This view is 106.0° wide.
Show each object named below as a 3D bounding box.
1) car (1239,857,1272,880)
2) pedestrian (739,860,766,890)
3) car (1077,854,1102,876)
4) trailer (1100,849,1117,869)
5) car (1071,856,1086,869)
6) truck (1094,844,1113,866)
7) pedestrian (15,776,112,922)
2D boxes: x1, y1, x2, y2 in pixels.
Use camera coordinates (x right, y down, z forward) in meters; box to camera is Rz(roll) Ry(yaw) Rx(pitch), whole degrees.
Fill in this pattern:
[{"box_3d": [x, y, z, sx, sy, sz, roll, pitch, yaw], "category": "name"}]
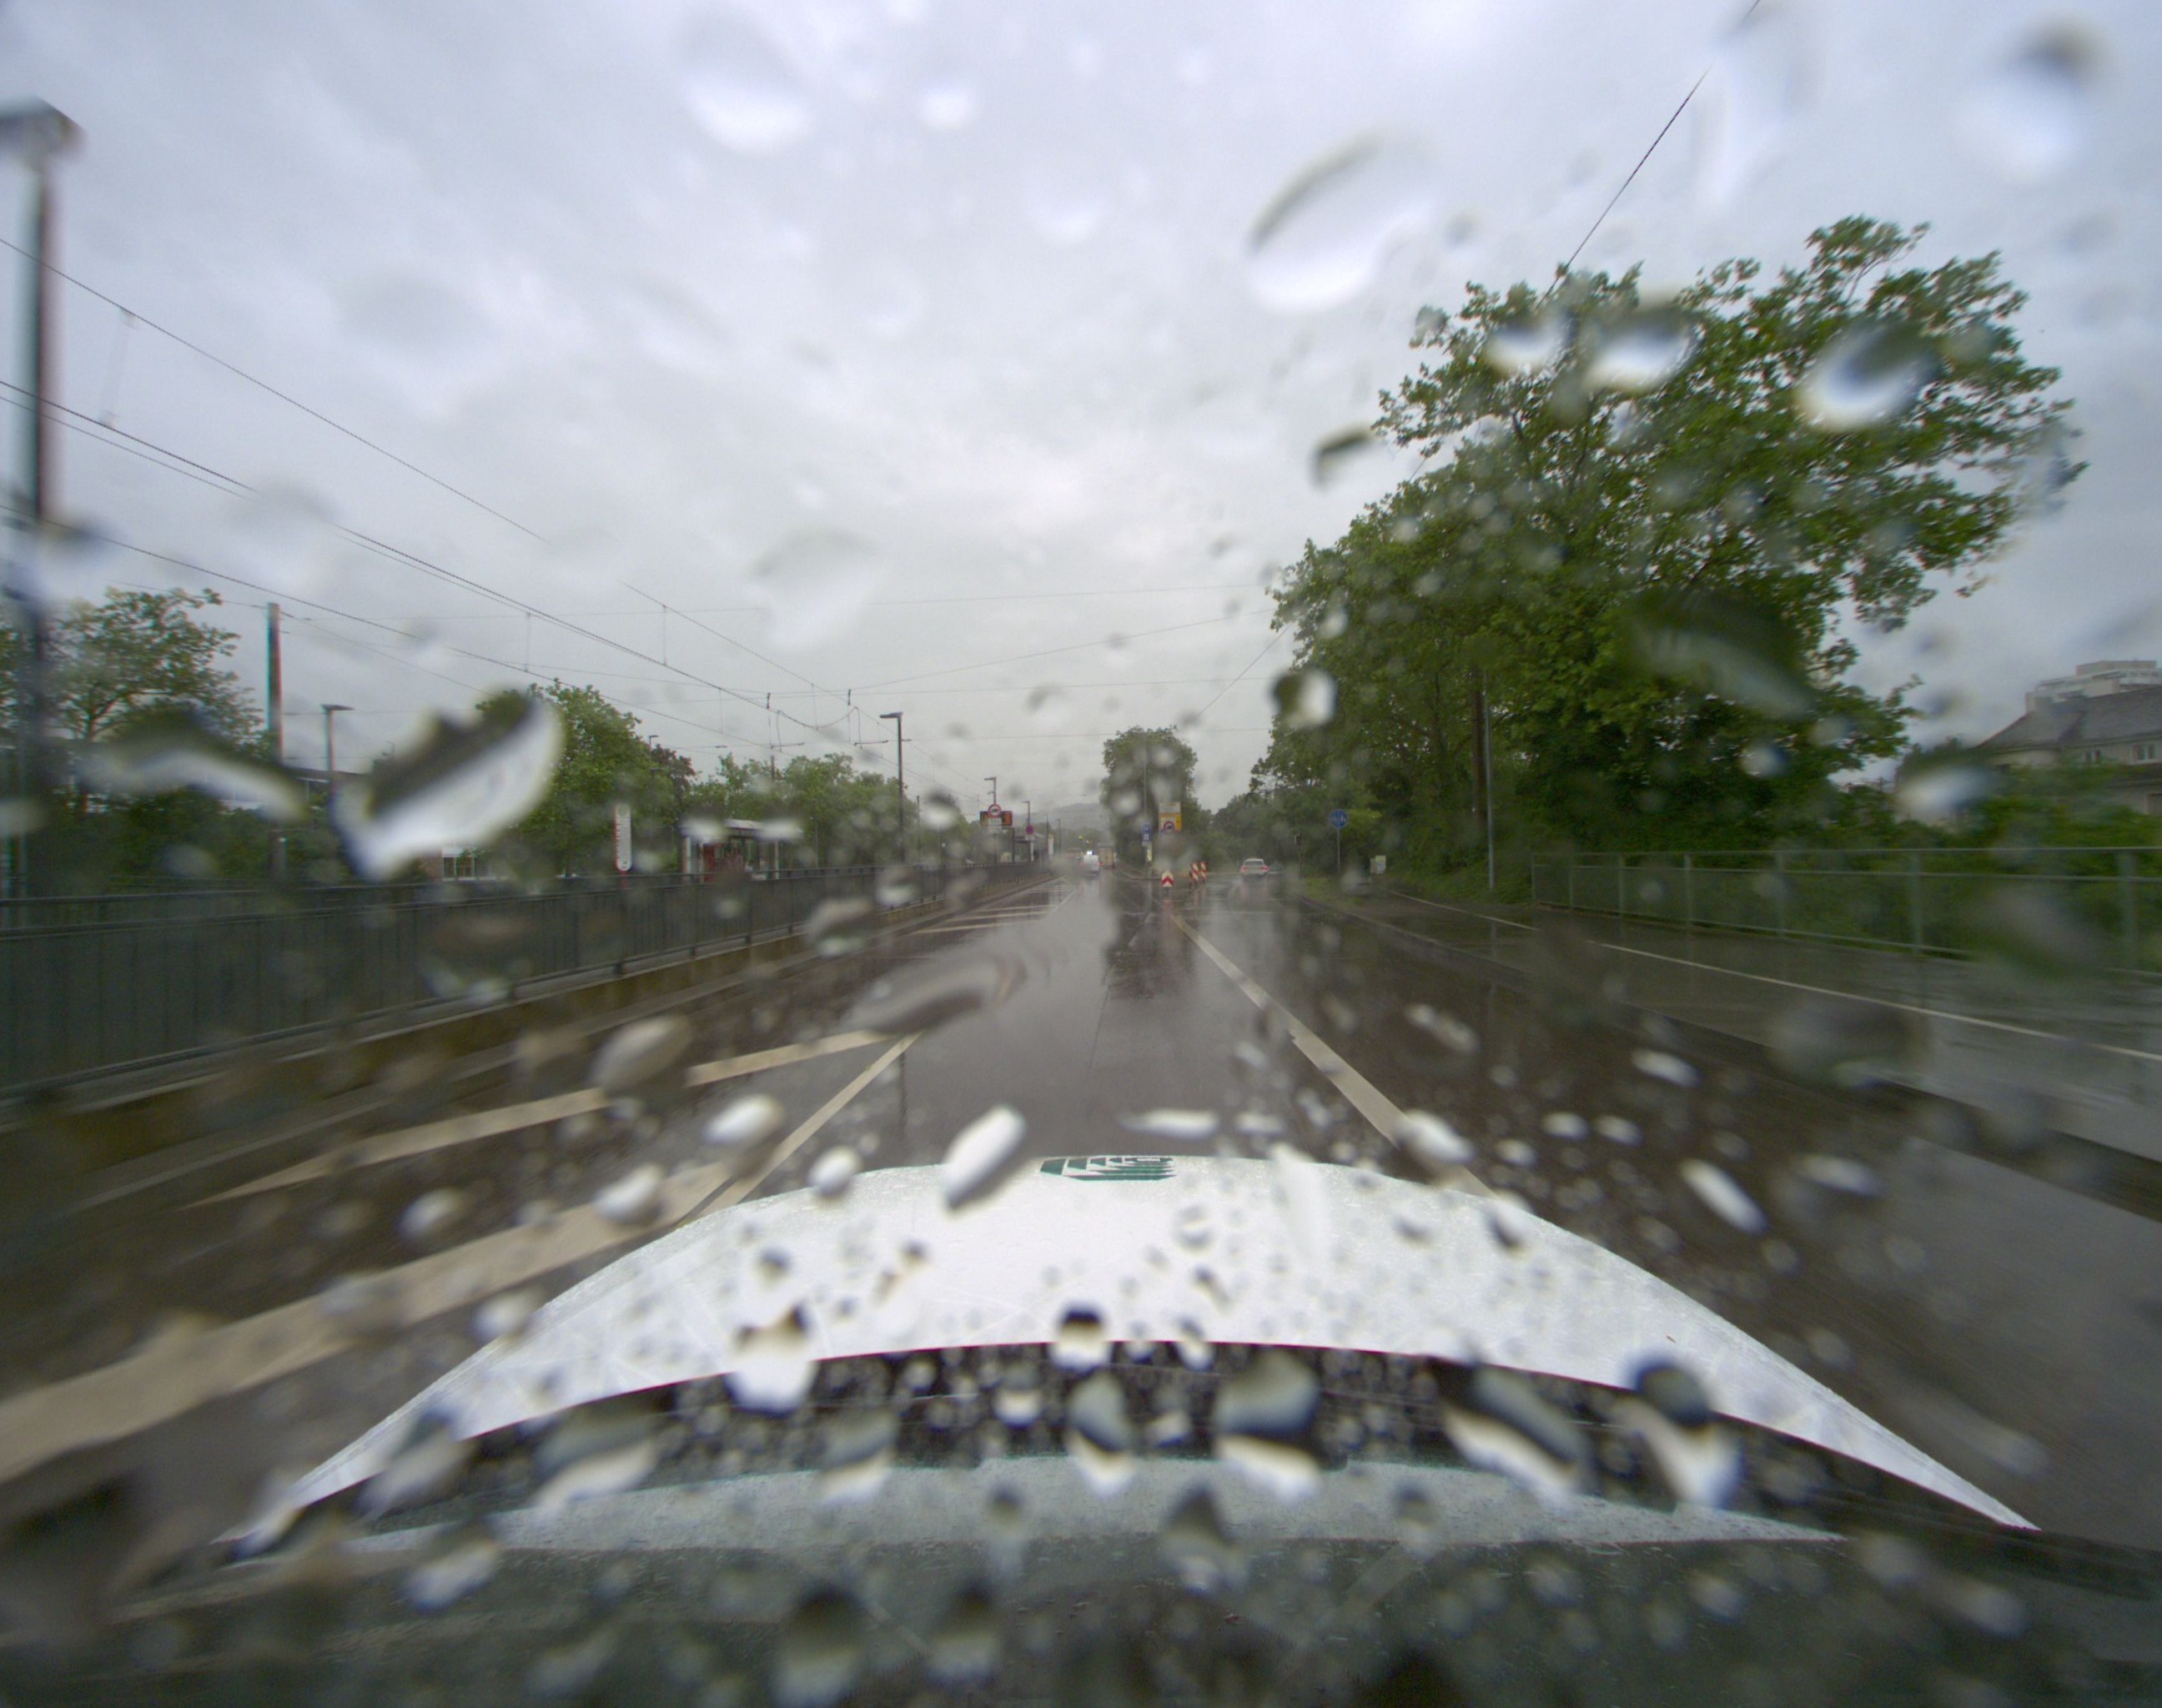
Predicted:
[{"box_3d": [11.644, 0.935, 54.114, 1.874, 1.431, 4.017, -1, 0, 16], "category": "car"}, {"box_3d": [-14.802, 0.954, 36.710, 0.828, 1.316, 0.858, 0, 0, 2], "category": "pedestrian"}, {"box_3d": [0.739, 0.915, 70.669, 1.988, 1.849, 3.997, -1, 0, -2], "category": "car"}, {"box_3d": [3.802, 0.728, 112.569, 2.156, 2.757, 5.681, 0, -1, 4], "category": "trailer"}, {"box_3d": [-0.326, 1.064, 106.011, 1.780, 1.642, 3.968, 0, -1, 1], "category": "car"}, {"box_3d": [3.961, 0.224, 143.743, 2.768, 3.704, 9.843, 0, -1, -2], "category": "truck"}, {"box_3d": [-29.230, -0.120, 23.410, 1.157, 4.029, 1.529, -1, -1, 30], "category": "pedestrian"}]
